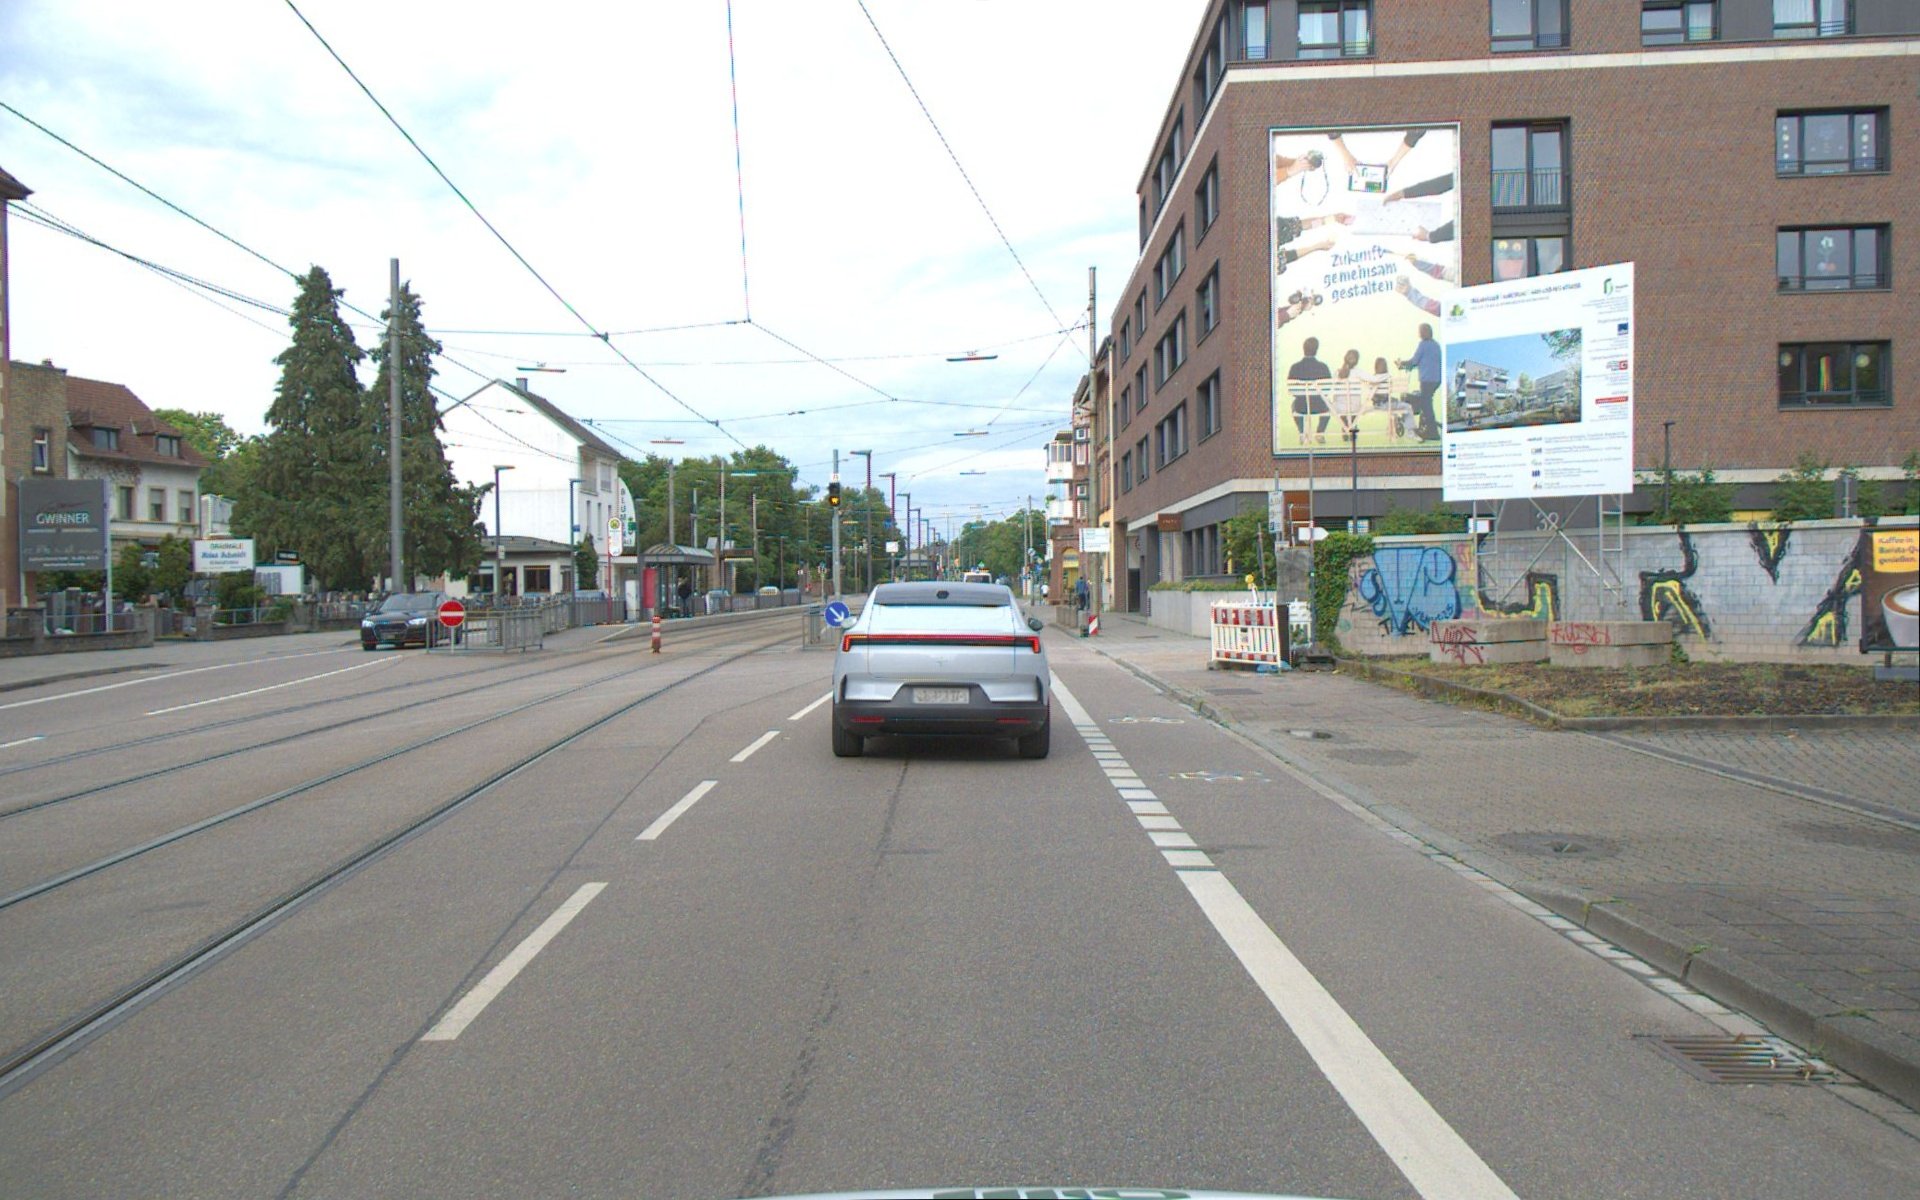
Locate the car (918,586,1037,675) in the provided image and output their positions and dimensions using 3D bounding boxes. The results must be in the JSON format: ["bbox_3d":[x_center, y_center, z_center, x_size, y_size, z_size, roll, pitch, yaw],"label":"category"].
[{"bbox_3d":[0.281,0.491,29.662,1.953,1.444,4.000,-1,1,-1],"label":"car"}]

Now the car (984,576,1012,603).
[{"bbox_3d":[2.943,-0.796,129.589,1.953,2.049,3.998,0,0,-2],"label":"car"}]

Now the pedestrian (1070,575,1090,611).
[{"bbox_3d":[6.567,-0.392,90.496,0.940,1.882,0.976,-3,1,7],"label":"pedestrian"}]

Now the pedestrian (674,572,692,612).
[{"bbox_3d":[-11.703,-0.331,69.828,0.602,1.694,0.698,0,0,4],"label":"pedestrian"}]

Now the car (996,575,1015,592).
[{"bbox_3d":[6.951,-2.543,253.283,2.749,2.548,5.723,0,0,1],"label":"car"}]

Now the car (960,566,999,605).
[{"bbox_3d":[1.231,-0.903,105.368,2.181,2.444,5.120,0,0,-3],"label":"car"}]

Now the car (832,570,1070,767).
[{"bbox_3d":[-0.195,0.568,15.598,1.960,1.608,3.997,0,0,-4],"label":"car"}]

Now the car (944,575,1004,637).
[{"bbox_3d":[0.414,0.155,47.626,1.646,1.717,3.824,0,0,1],"label":"car"}]

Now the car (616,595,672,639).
[{"bbox_3d":[-15.213,0.795,79.841,1.846,2.023,4.524,-1,0,-1],"label":"car"}]

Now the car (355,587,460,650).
[{"bbox_3d":[-14.463,0.456,43.544,1.870,1.498,4.808,-2,0,-10],"label":"car"}]
